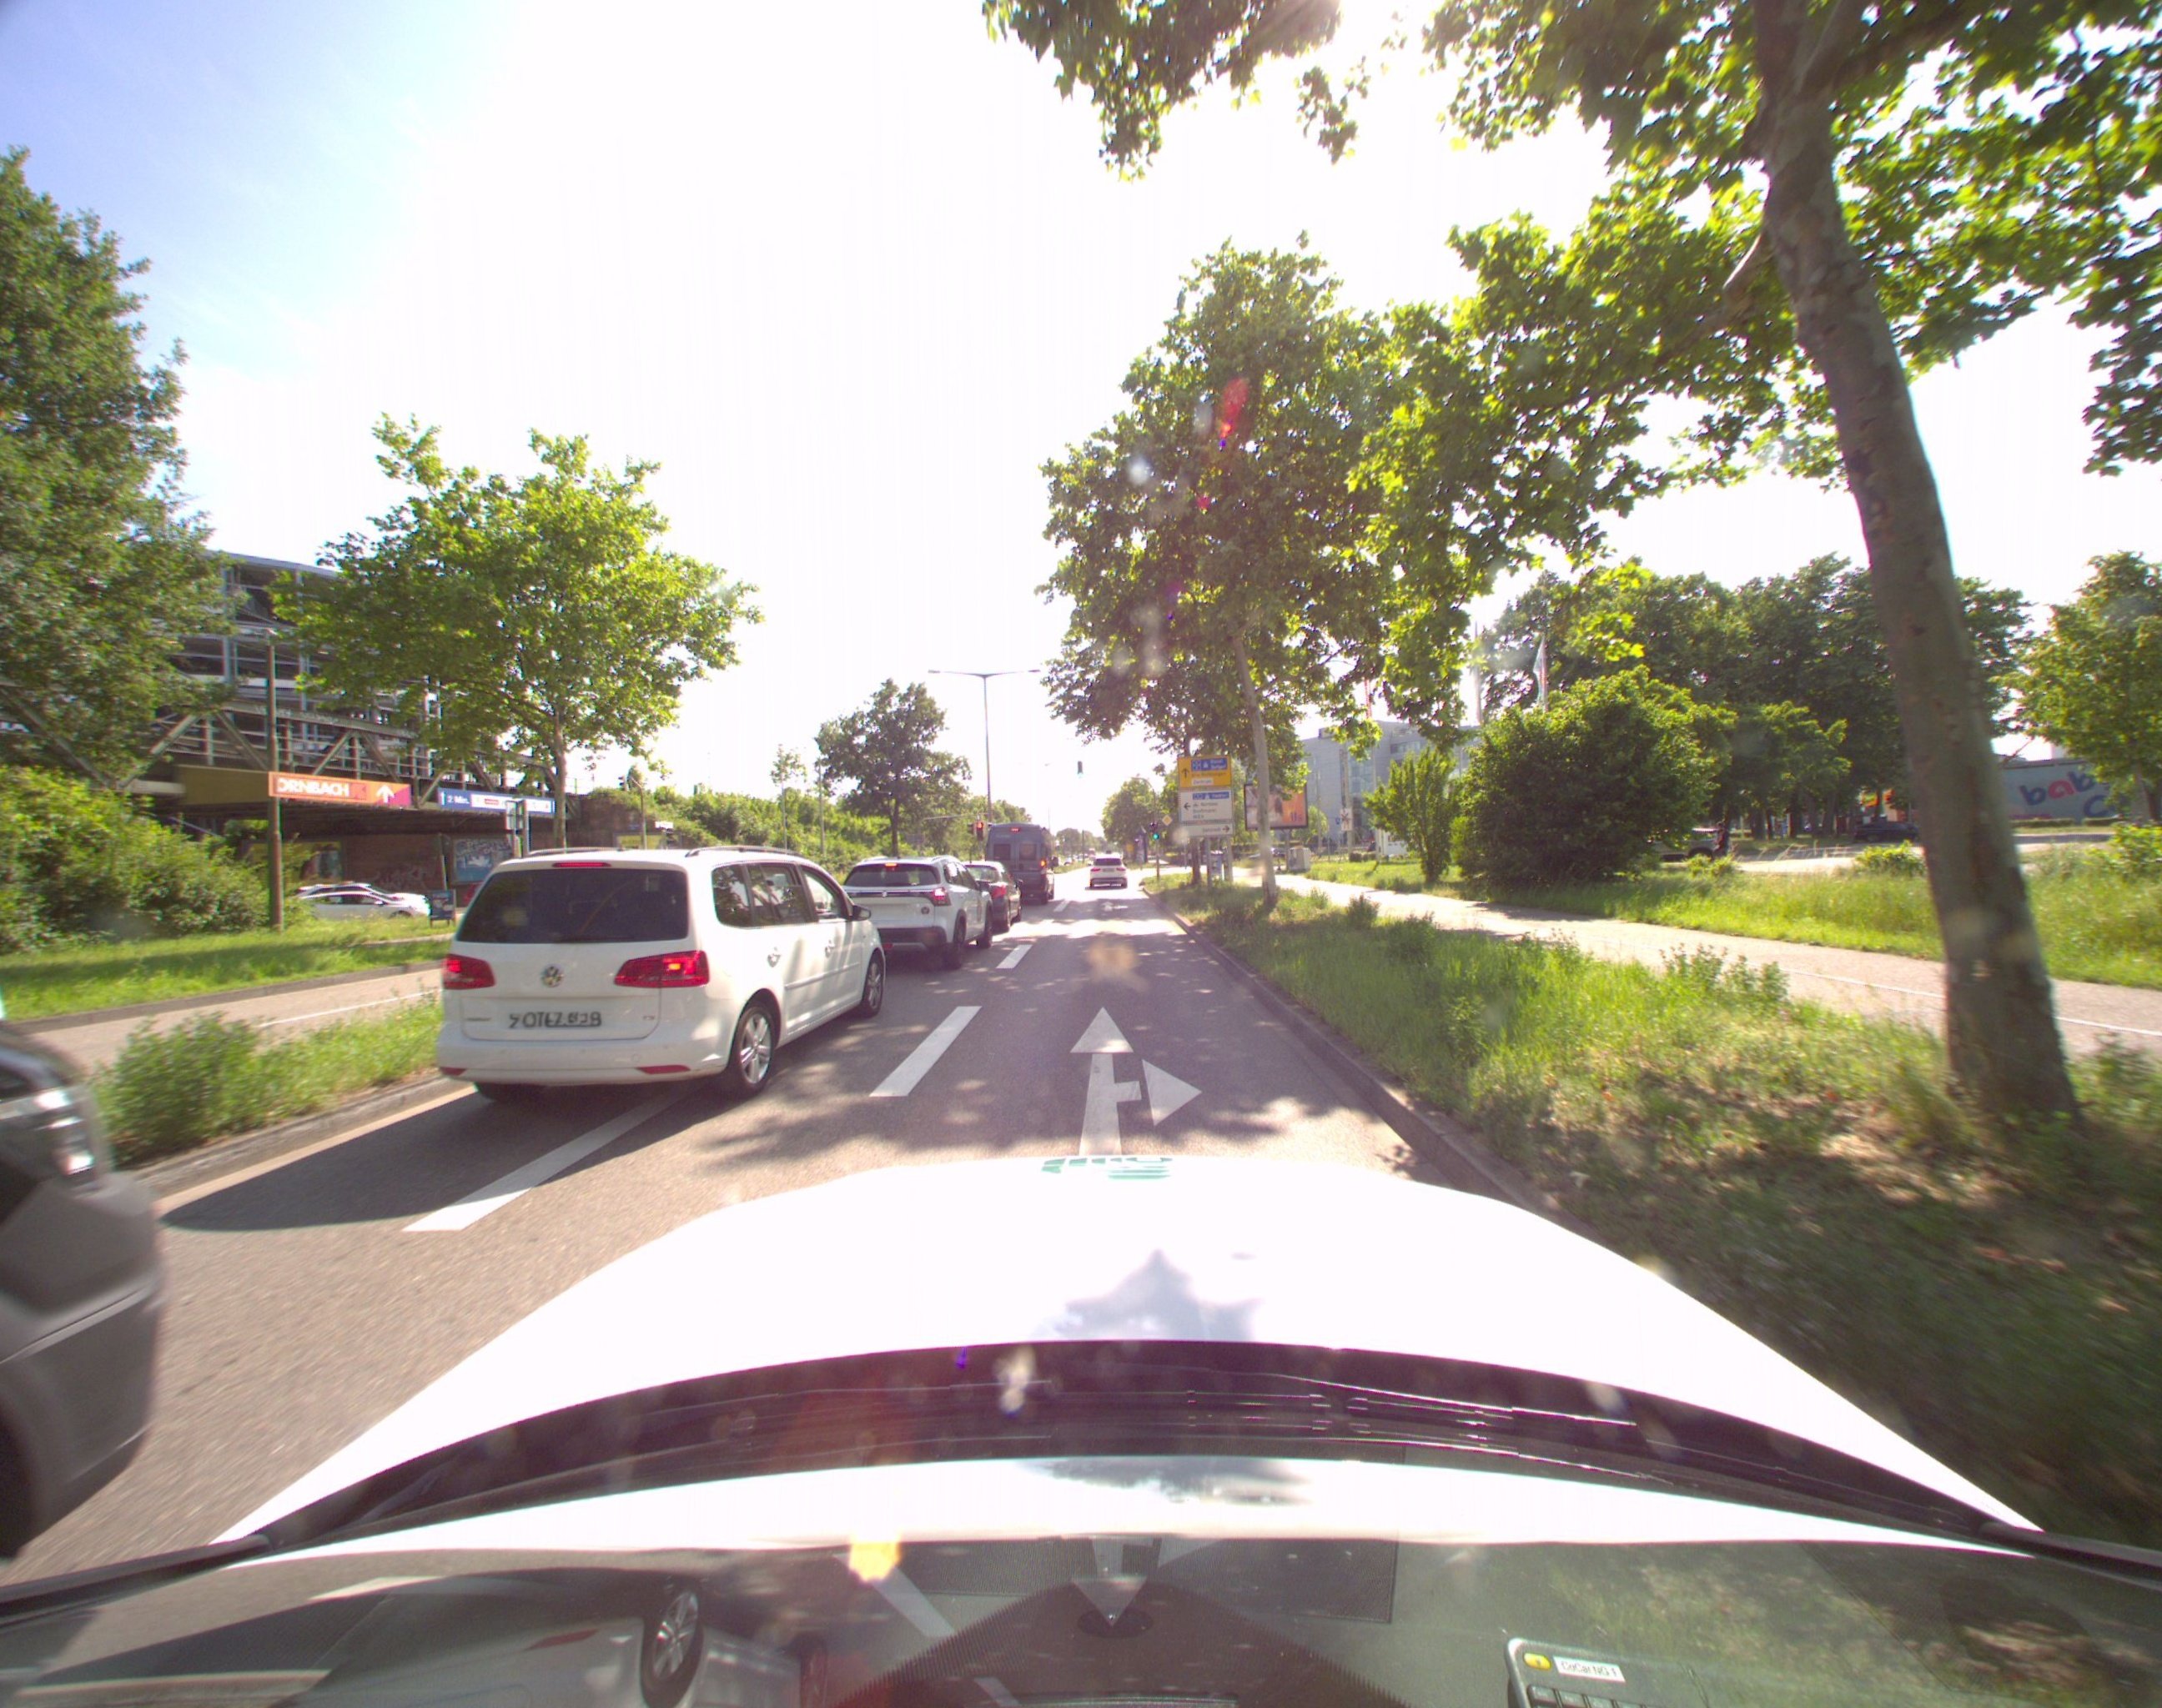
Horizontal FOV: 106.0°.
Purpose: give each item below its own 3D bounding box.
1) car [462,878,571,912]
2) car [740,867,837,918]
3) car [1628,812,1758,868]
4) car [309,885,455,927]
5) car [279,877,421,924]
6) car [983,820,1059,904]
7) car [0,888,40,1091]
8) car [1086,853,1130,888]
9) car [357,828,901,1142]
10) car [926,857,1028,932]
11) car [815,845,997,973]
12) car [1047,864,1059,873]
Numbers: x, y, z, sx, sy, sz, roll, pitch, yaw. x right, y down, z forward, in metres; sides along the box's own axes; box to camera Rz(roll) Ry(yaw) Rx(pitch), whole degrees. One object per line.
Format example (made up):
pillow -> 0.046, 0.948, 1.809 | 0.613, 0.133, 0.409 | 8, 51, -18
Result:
car -> -27.946, 2.025, 40.469 | 4.347, 1.426, 1.471 | -2, -1, -33
car -> -10.050, 1.273, 28.323 | 1.732, 1.486, 4.159 | -4, 0, 1
car -> 24.126, -0.523, 32.193 | 2.011, 2.013, 3.750 | -1, 0, -42
car -> -27.095, 1.985, 31.747 | 4.013, 1.345, 1.864 | -2, -1, -31
car -> -30.843, 1.909, 34.546 | 4.144, 1.732, 1.864 | -2, -1, -31
car -> -1.983, 0.285, 28.623 | 2.073, 2.657, 4.877 | -1, -1, 2
car -> -9.113, 1.047, 4.389 | 1.724, 1.512, 4.003 | -2, 0, 3
car -> 1.379, 0.755, 40.295 | 1.844, 1.607, 4.007 | -1, 0, 6
car -> -2.908, 0.727, 6.527 | 1.764, 1.647, 4.354 | -1, -1, 2
car -> -2.230, 0.835, 18.443 | 1.685, 1.505, 3.887 | 0, 0, 2
car -> -2.498, 0.743, 12.668 | 1.764, 1.647, 4.087 | -1, -1, 2
car -> -3.571, 1.884, 104.461 | 1.364, 1.112, 3.208 | -3, -1, 2
